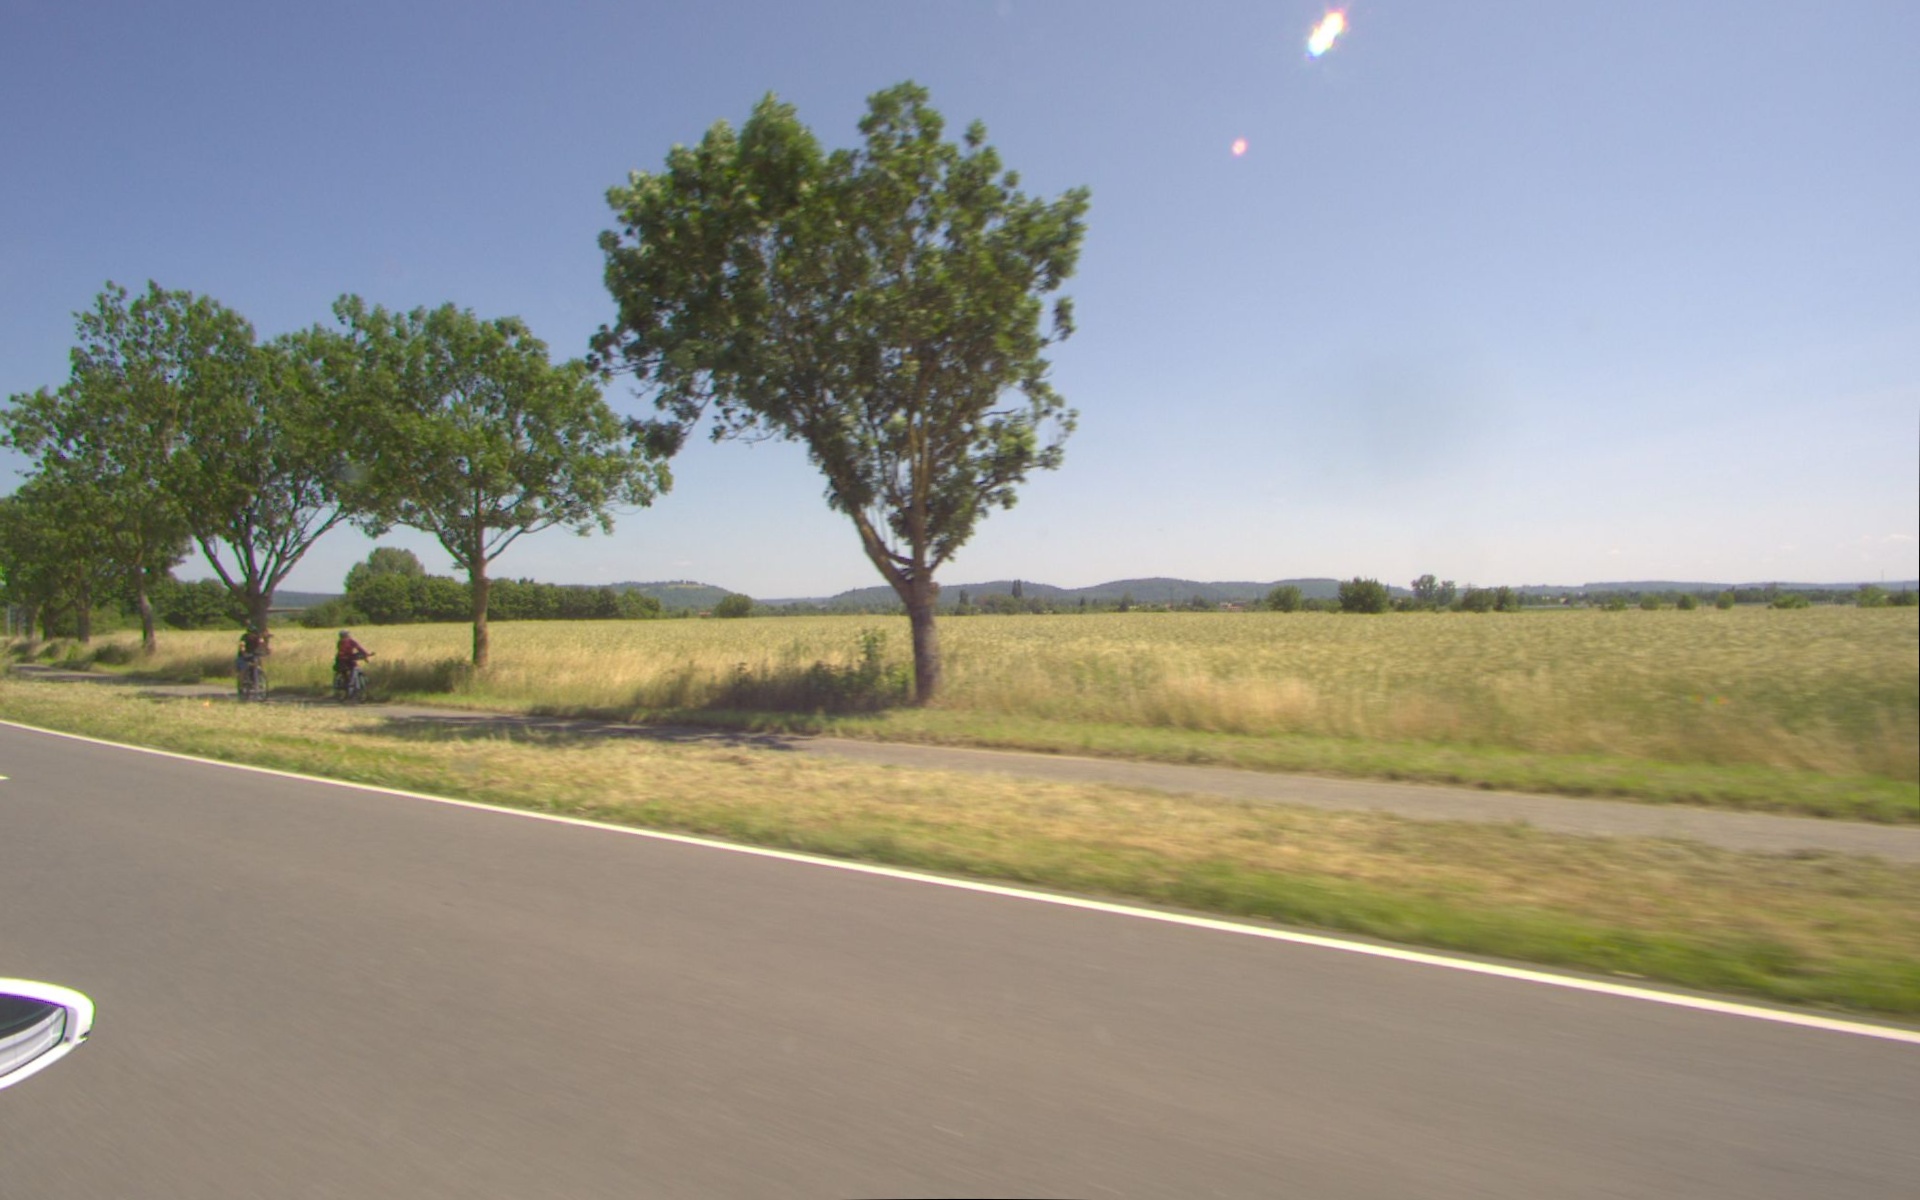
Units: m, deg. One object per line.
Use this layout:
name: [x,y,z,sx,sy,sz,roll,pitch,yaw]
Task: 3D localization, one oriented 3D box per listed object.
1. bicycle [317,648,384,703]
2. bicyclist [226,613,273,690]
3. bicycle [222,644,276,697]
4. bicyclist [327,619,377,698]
bicycle: [-14.444,1.762,23.716,2.026,1.225,0.696,-1,-3,39]
bicyclist: [-16.842,1.206,23.738,1.159,1.755,0.584,0,-4,44]
bicycle: [-16.836,1.646,23.694,2.029,1.191,0.602,-2,-4,44]
bicyclist: [-14.414,1.391,23.746,0.966,1.804,0.626,0,-4,40]
